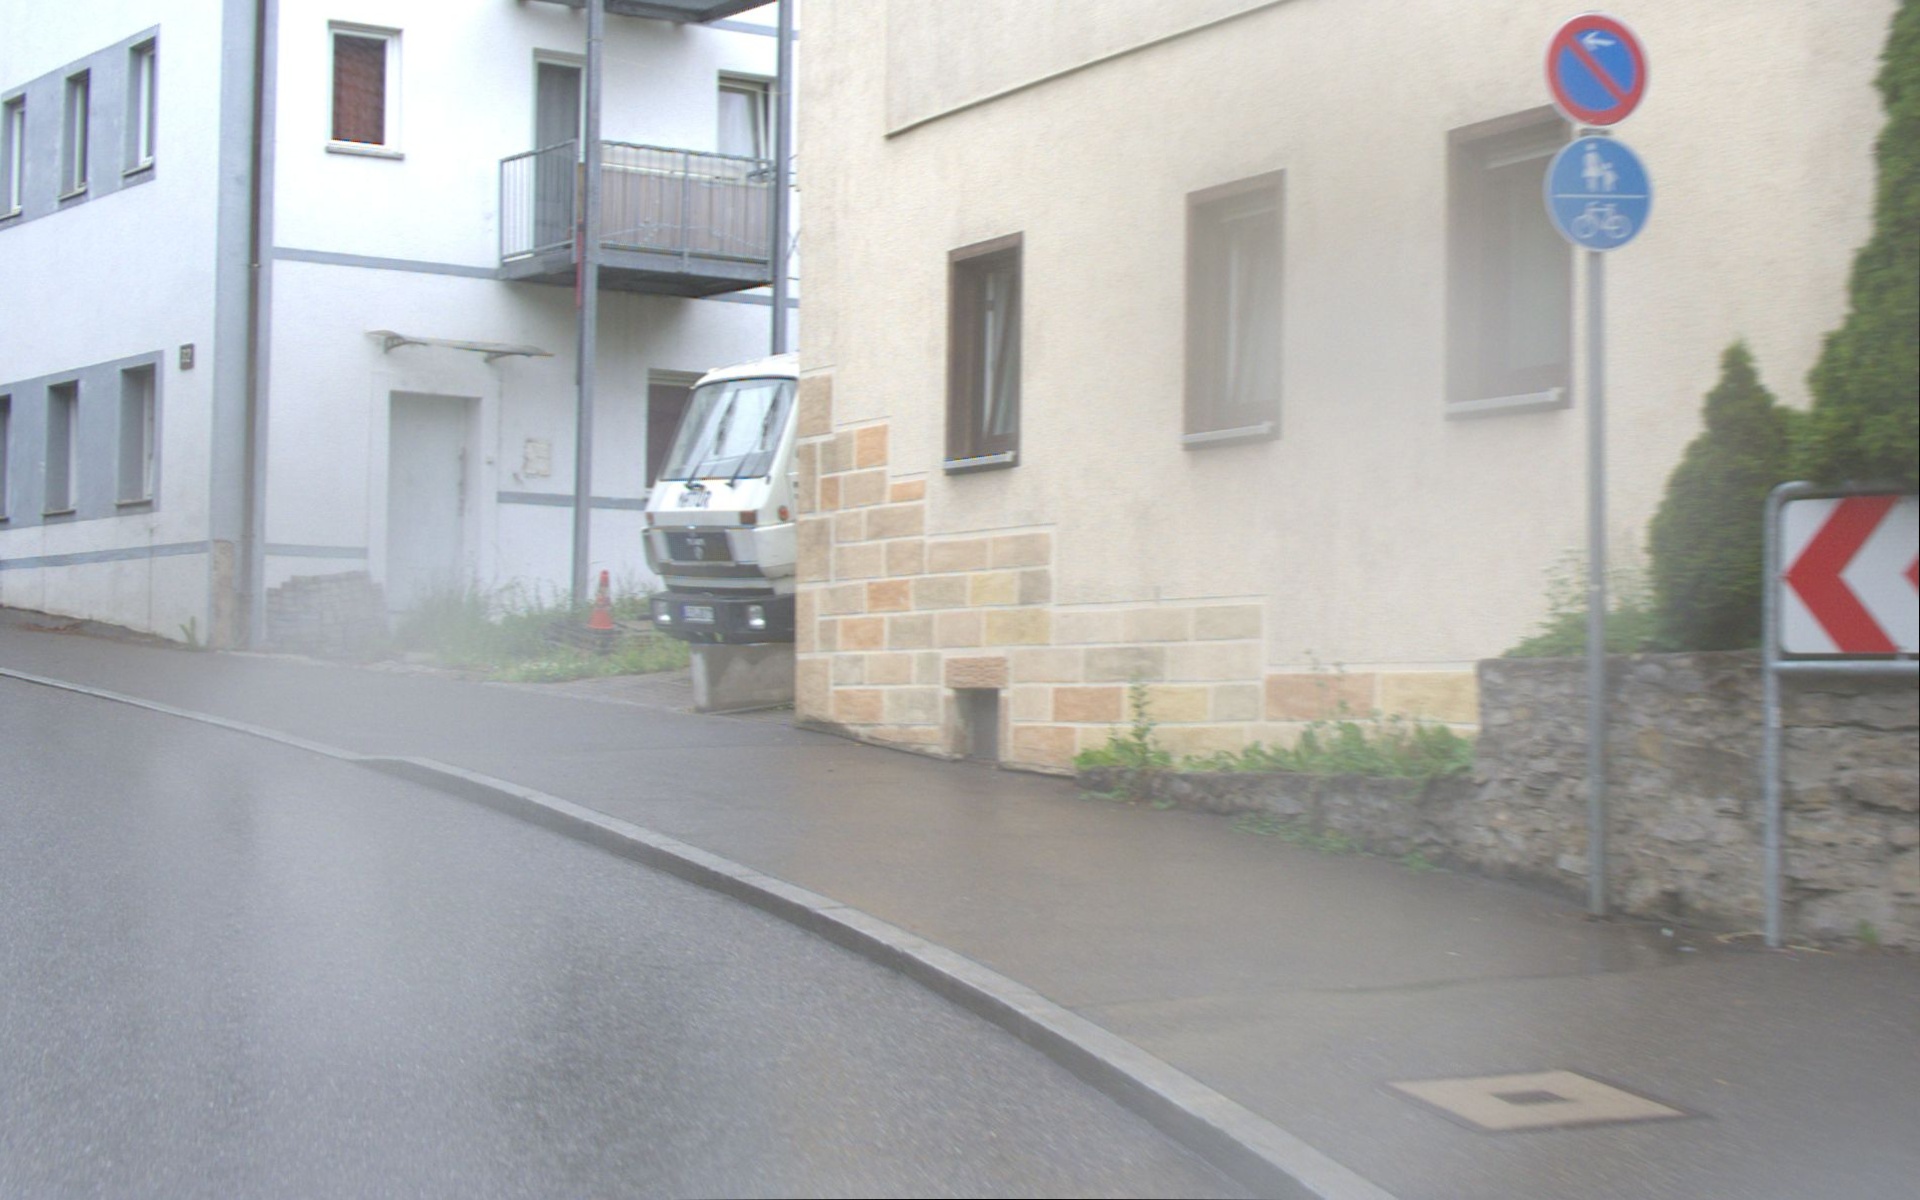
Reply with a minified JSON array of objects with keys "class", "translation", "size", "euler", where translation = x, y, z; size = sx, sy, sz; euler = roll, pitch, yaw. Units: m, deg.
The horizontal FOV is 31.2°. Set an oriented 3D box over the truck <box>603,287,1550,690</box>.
[{"class":"truck","translation":[0.966,-0.916,25.617],"size":[6.956,2.693,2.141],"euler":[-2,5,-30]}]
